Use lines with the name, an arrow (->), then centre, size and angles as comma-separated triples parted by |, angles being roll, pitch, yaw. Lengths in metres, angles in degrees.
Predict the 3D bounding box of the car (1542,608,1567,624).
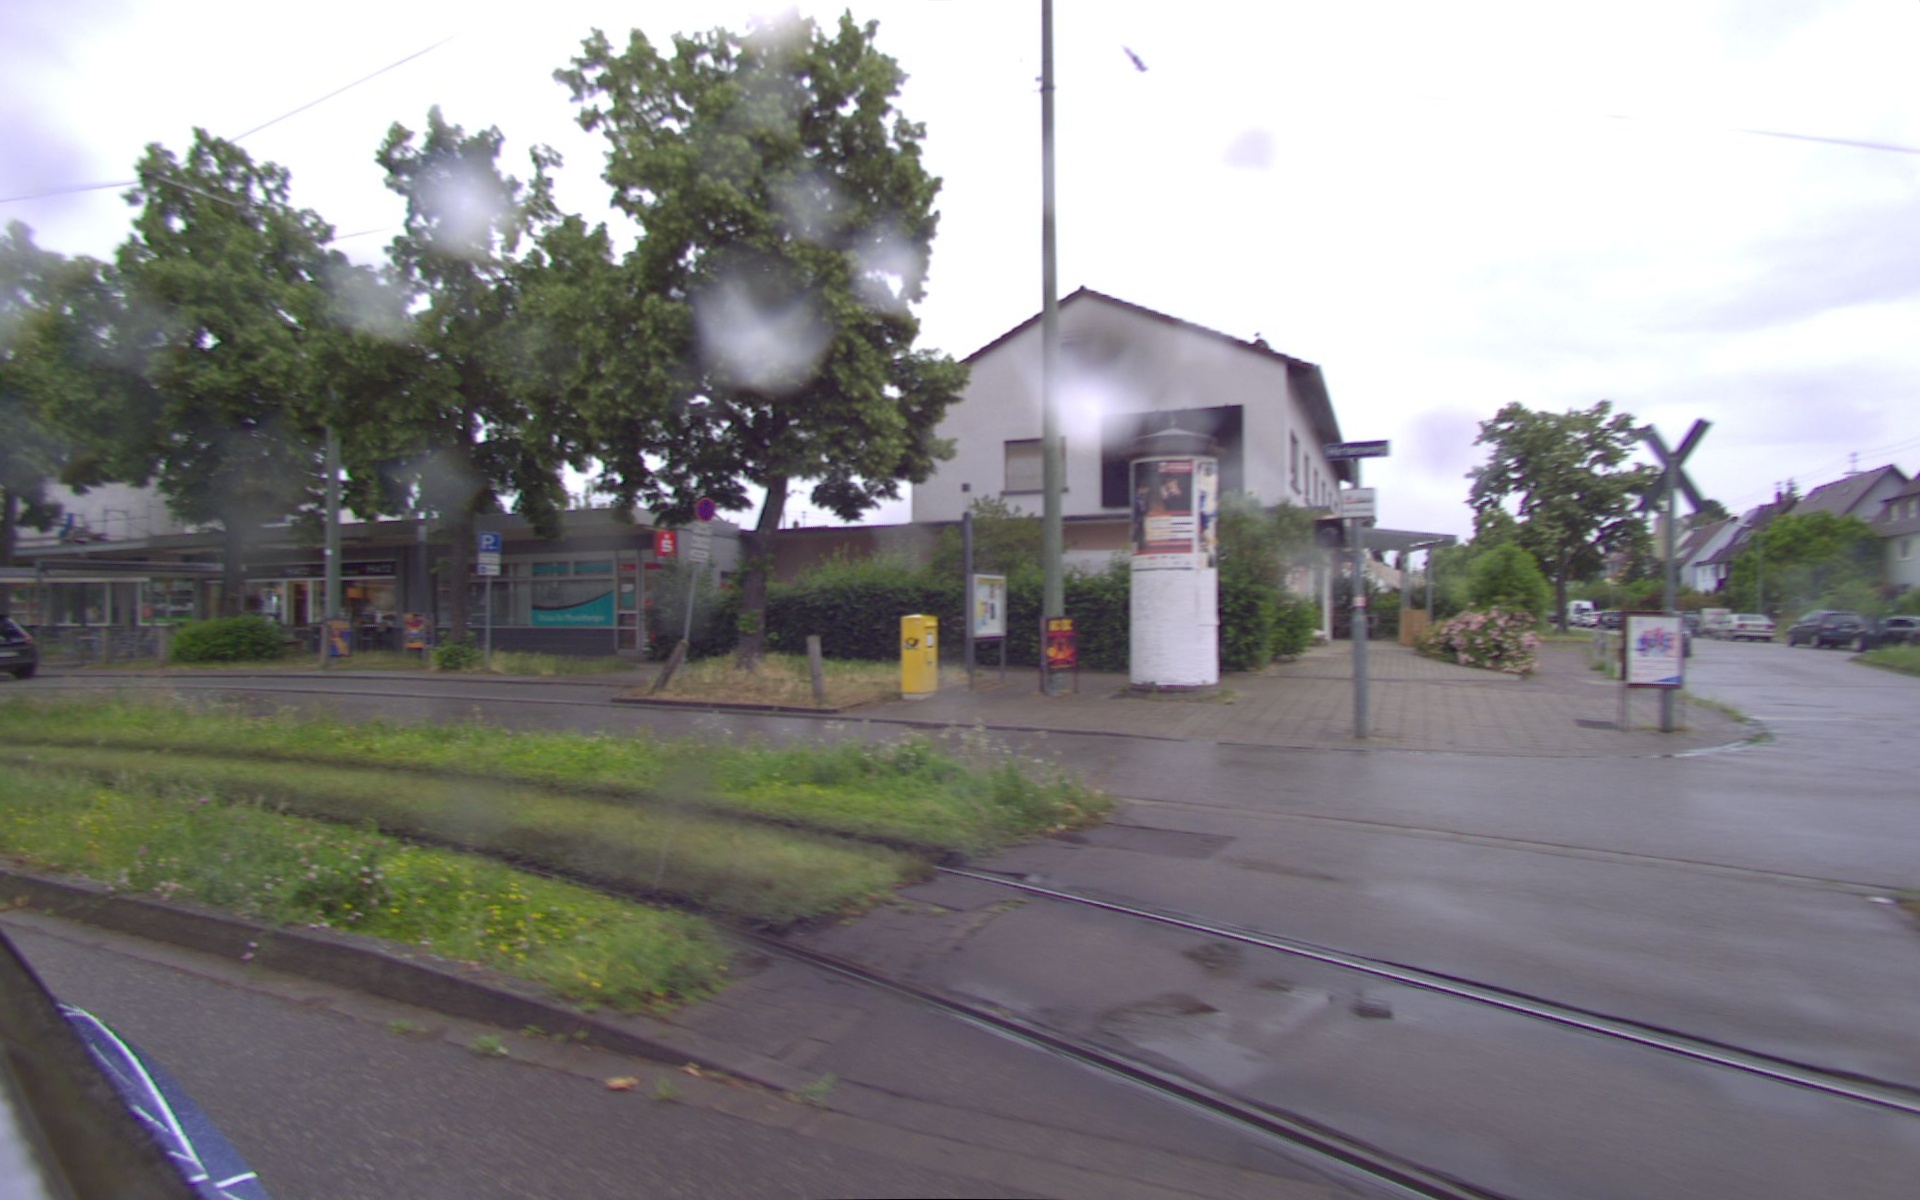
car -> 71.851, 1.886, 122.426 | 1.987, 1.807, 3.971 | -1, 1, 22

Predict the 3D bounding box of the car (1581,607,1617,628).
car -> 56.660, 1.521, 89.831 | 1.933, 1.707, 3.972 | -1, 1, 21

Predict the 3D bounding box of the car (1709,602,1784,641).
car -> 40.787, 1.095, 52.595 | 1.986, 1.807, 3.972 | -1, 1, 21

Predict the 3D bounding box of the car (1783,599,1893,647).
car -> 36.875, 0.939, 42.634 | 1.982, 1.807, 3.979 | -1, 1, 16

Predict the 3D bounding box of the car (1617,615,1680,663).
car -> 25.150, 1.378, 37.069 | 1.785, 1.473, 3.955 | 0, 1, 33

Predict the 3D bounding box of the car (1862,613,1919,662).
car -> 35.297, 1.368, 36.853 | 1.982, 1.586, 4.107 | -1, 1, 15

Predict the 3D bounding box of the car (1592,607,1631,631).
car -> 54.938, 1.593, 85.453 | 1.986, 1.807, 3.972 | -1, 1, 21

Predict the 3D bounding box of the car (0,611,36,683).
car -> -22.096, 1.038, 21.610 | 3.580, 1.514, 1.548 | -1, 1, 8

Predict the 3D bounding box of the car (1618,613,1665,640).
car -> 49.883, 1.921, 74.134 | 1.986, 1.807, 3.972 | -1, 1, 21

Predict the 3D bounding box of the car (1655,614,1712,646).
car -> 46.041, 1.903, 64.490 | 1.986, 1.807, 3.972 | -1, 1, 21

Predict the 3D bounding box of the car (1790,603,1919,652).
car -> 28.815, 0.874, 32.640 | 1.986, 1.487, 3.971 | -1, -1, 22

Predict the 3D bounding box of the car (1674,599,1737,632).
car -> 43.803, 0.895, 59.540 | 1.986, 1.807, 3.972 | -1, 1, 21

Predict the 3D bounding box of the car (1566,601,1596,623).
car -> 62.240, 1.171, 101.476 | 1.988, 2.049, 3.969 | -1, 1, 23
